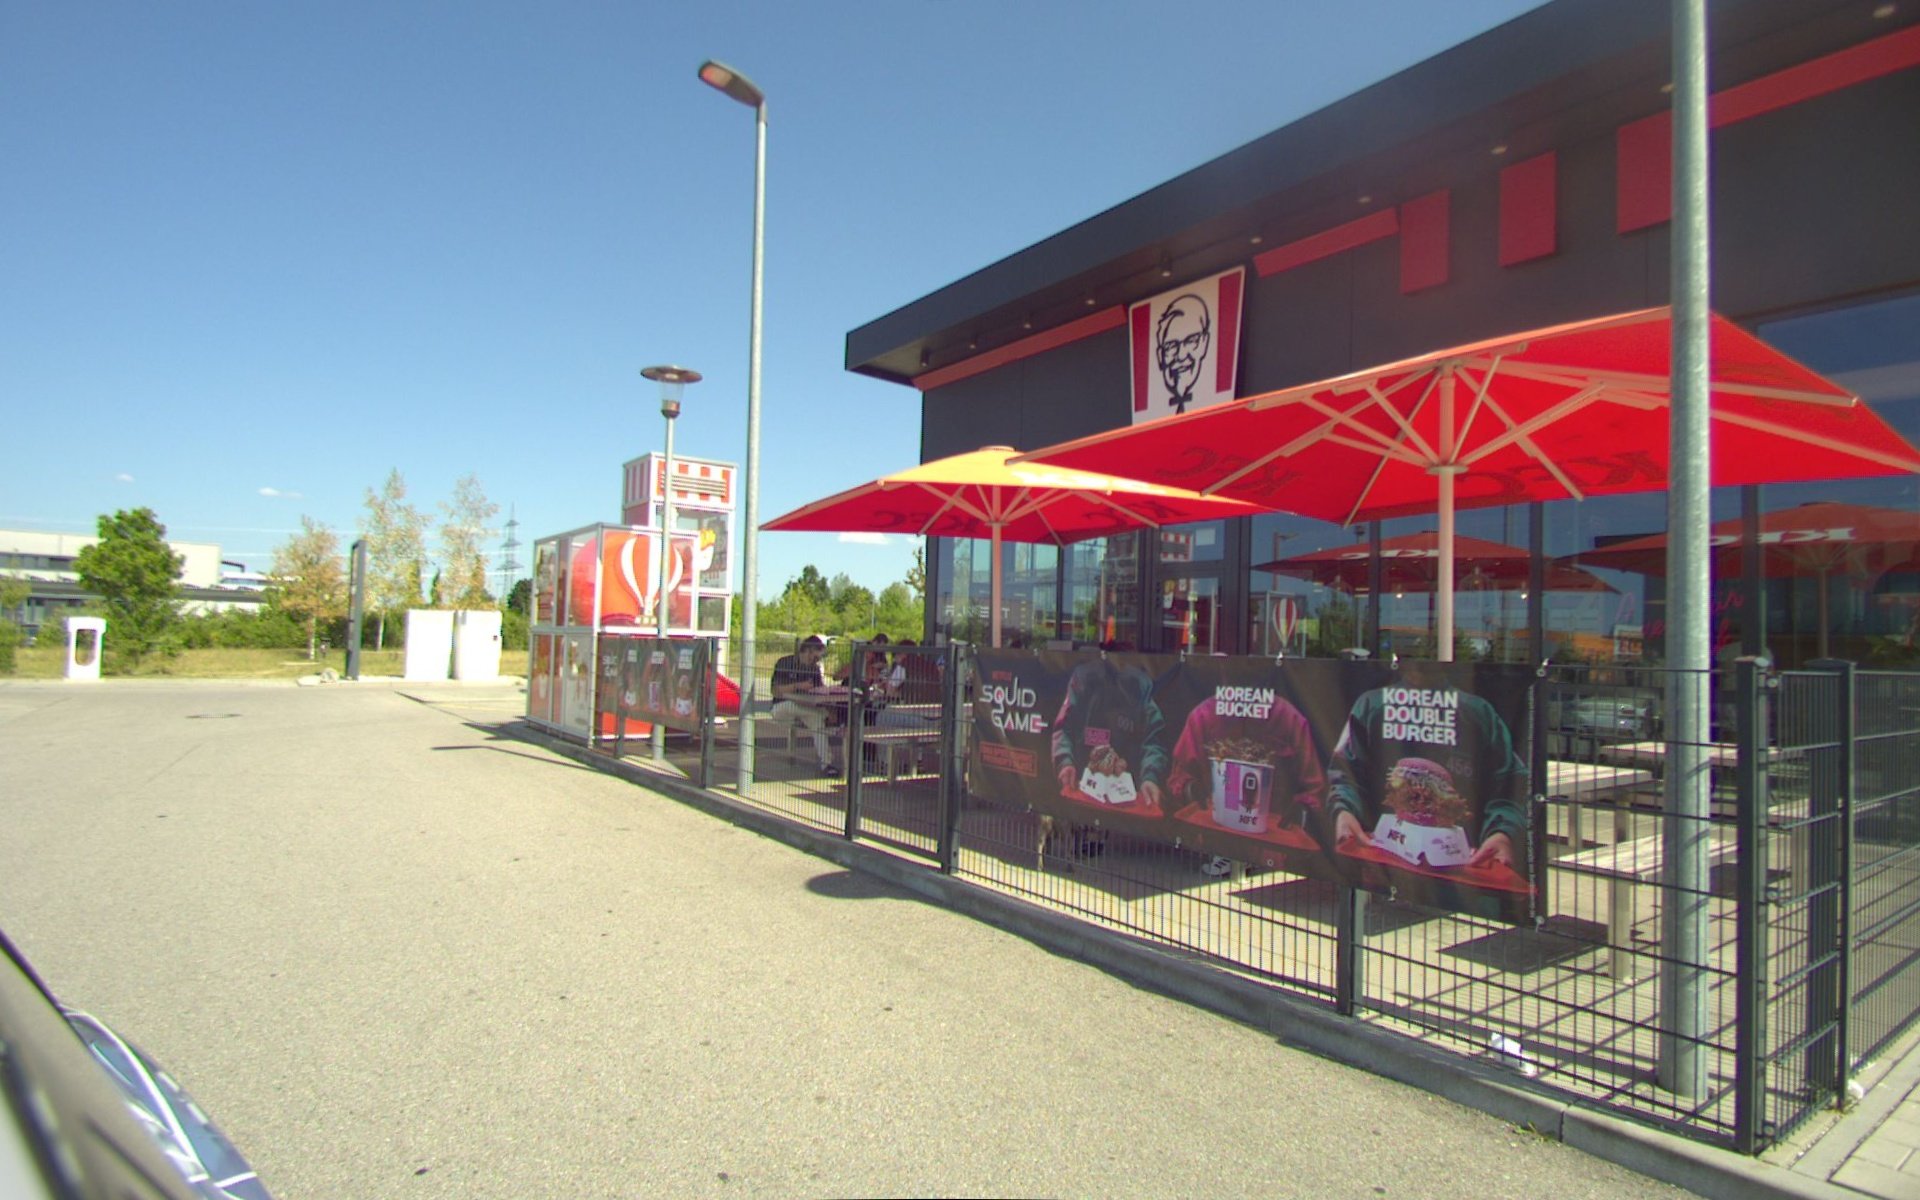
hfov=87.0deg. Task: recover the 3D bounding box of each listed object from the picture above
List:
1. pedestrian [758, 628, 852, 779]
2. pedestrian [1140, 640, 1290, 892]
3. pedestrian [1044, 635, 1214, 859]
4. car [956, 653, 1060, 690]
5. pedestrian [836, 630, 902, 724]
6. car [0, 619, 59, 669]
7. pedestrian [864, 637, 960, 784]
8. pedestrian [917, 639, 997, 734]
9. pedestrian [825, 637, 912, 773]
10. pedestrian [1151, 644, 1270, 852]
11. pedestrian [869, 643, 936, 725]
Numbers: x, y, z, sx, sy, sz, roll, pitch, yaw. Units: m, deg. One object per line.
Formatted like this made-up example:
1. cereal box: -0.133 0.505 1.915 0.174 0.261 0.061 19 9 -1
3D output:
1. pedestrian: -1.522 0.977 9.881 0.654 1.398 0.810 2 -3 -27
2. pedestrian: 1.429 0.871 5.647 0.623 1.283 0.606 -1 -3 38
3. pedestrian: 1.069 0.873 6.389 0.840 1.283 0.677 -1 -3 38
4. car: 2.228 3.267 46.679 4.360 1.538 2.223 3 -2 -37
5. pedestrian: -1.463 1.210 16.220 0.785 1.454 0.695 3 -3 -38
6. car: -35.565 1.620 37.887 1.886 1.763 4.269 2 -3 -31
7. pedestrian: -0.463 1.015 9.590 0.654 1.314 0.714 2 -3 -27
8. pedestrian: -0.045 1.235 14.759 0.742 1.322 0.947 3 -3 -35
9. pedestrian: -0.934 1.037 10.266 0.654 1.314 0.689 2 -3 -27
10. pedestrian: 1.681 0.942 6.761 0.550 1.283 0.677 -1 -3 37
11. pedestrian: -0.883 1.275 15.527 0.742 1.209 0.696 3 -3 -35
